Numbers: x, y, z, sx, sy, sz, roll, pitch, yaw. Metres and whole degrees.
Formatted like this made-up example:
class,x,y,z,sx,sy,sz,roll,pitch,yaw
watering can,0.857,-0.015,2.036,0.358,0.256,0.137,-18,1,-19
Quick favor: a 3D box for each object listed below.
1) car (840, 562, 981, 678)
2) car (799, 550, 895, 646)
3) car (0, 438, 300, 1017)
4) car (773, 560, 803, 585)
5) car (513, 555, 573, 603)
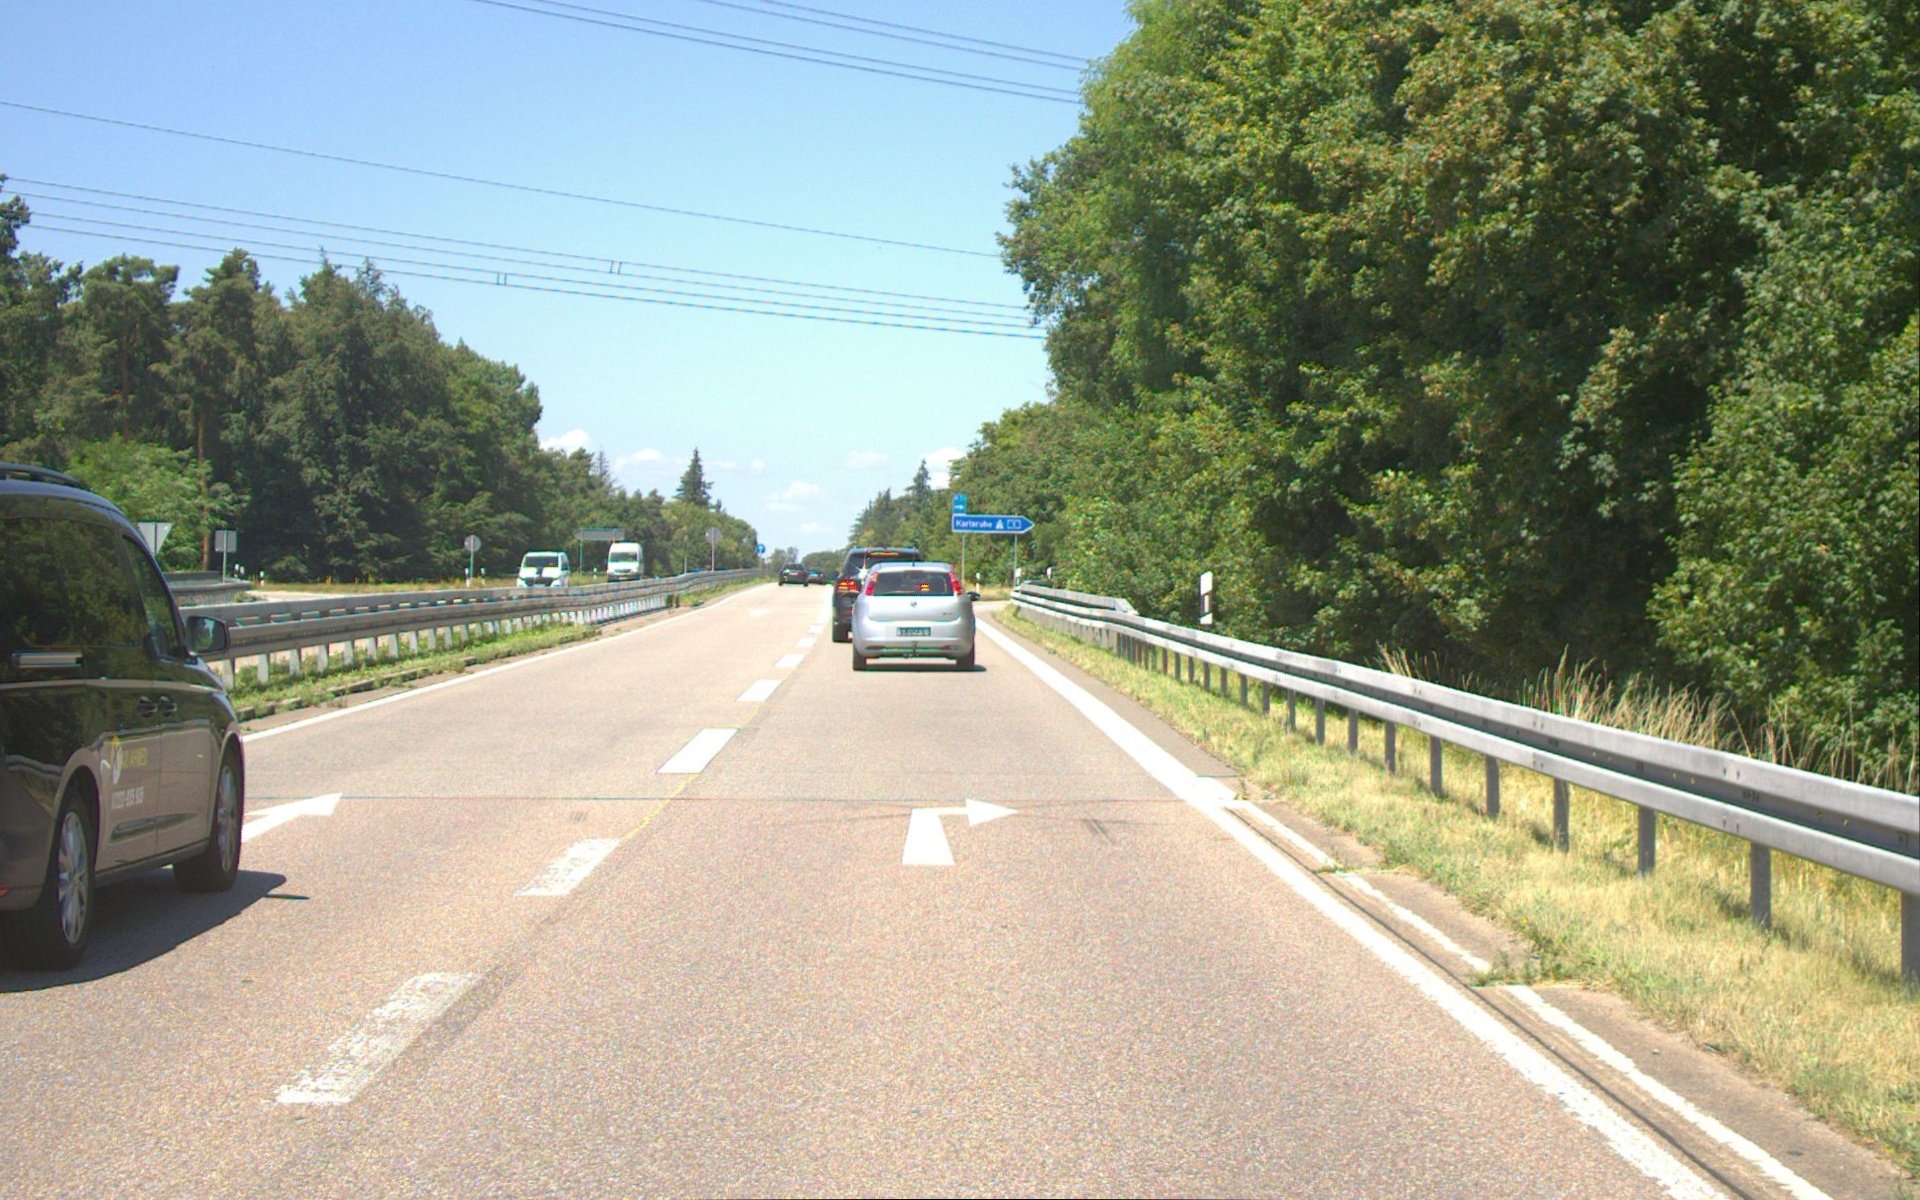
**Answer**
class,x,y,z,sx,sy,sz,roll,pitch,yaw
car,-0.721,0.250,47.462,1.640,1.463,3.419,3,0,-5
car,-2.116,-0.058,63.647,1.640,1.648,3.574,3,0,-3
car,-4.073,0.395,13.935,1.854,1.880,5.574,0,0,-1
car,-10.595,-1.716,212.223,1.712,1.466,3.574,3,0,-2
car,-17.761,-0.911,146.516,1.891,1.986,5.533,0,0,0
